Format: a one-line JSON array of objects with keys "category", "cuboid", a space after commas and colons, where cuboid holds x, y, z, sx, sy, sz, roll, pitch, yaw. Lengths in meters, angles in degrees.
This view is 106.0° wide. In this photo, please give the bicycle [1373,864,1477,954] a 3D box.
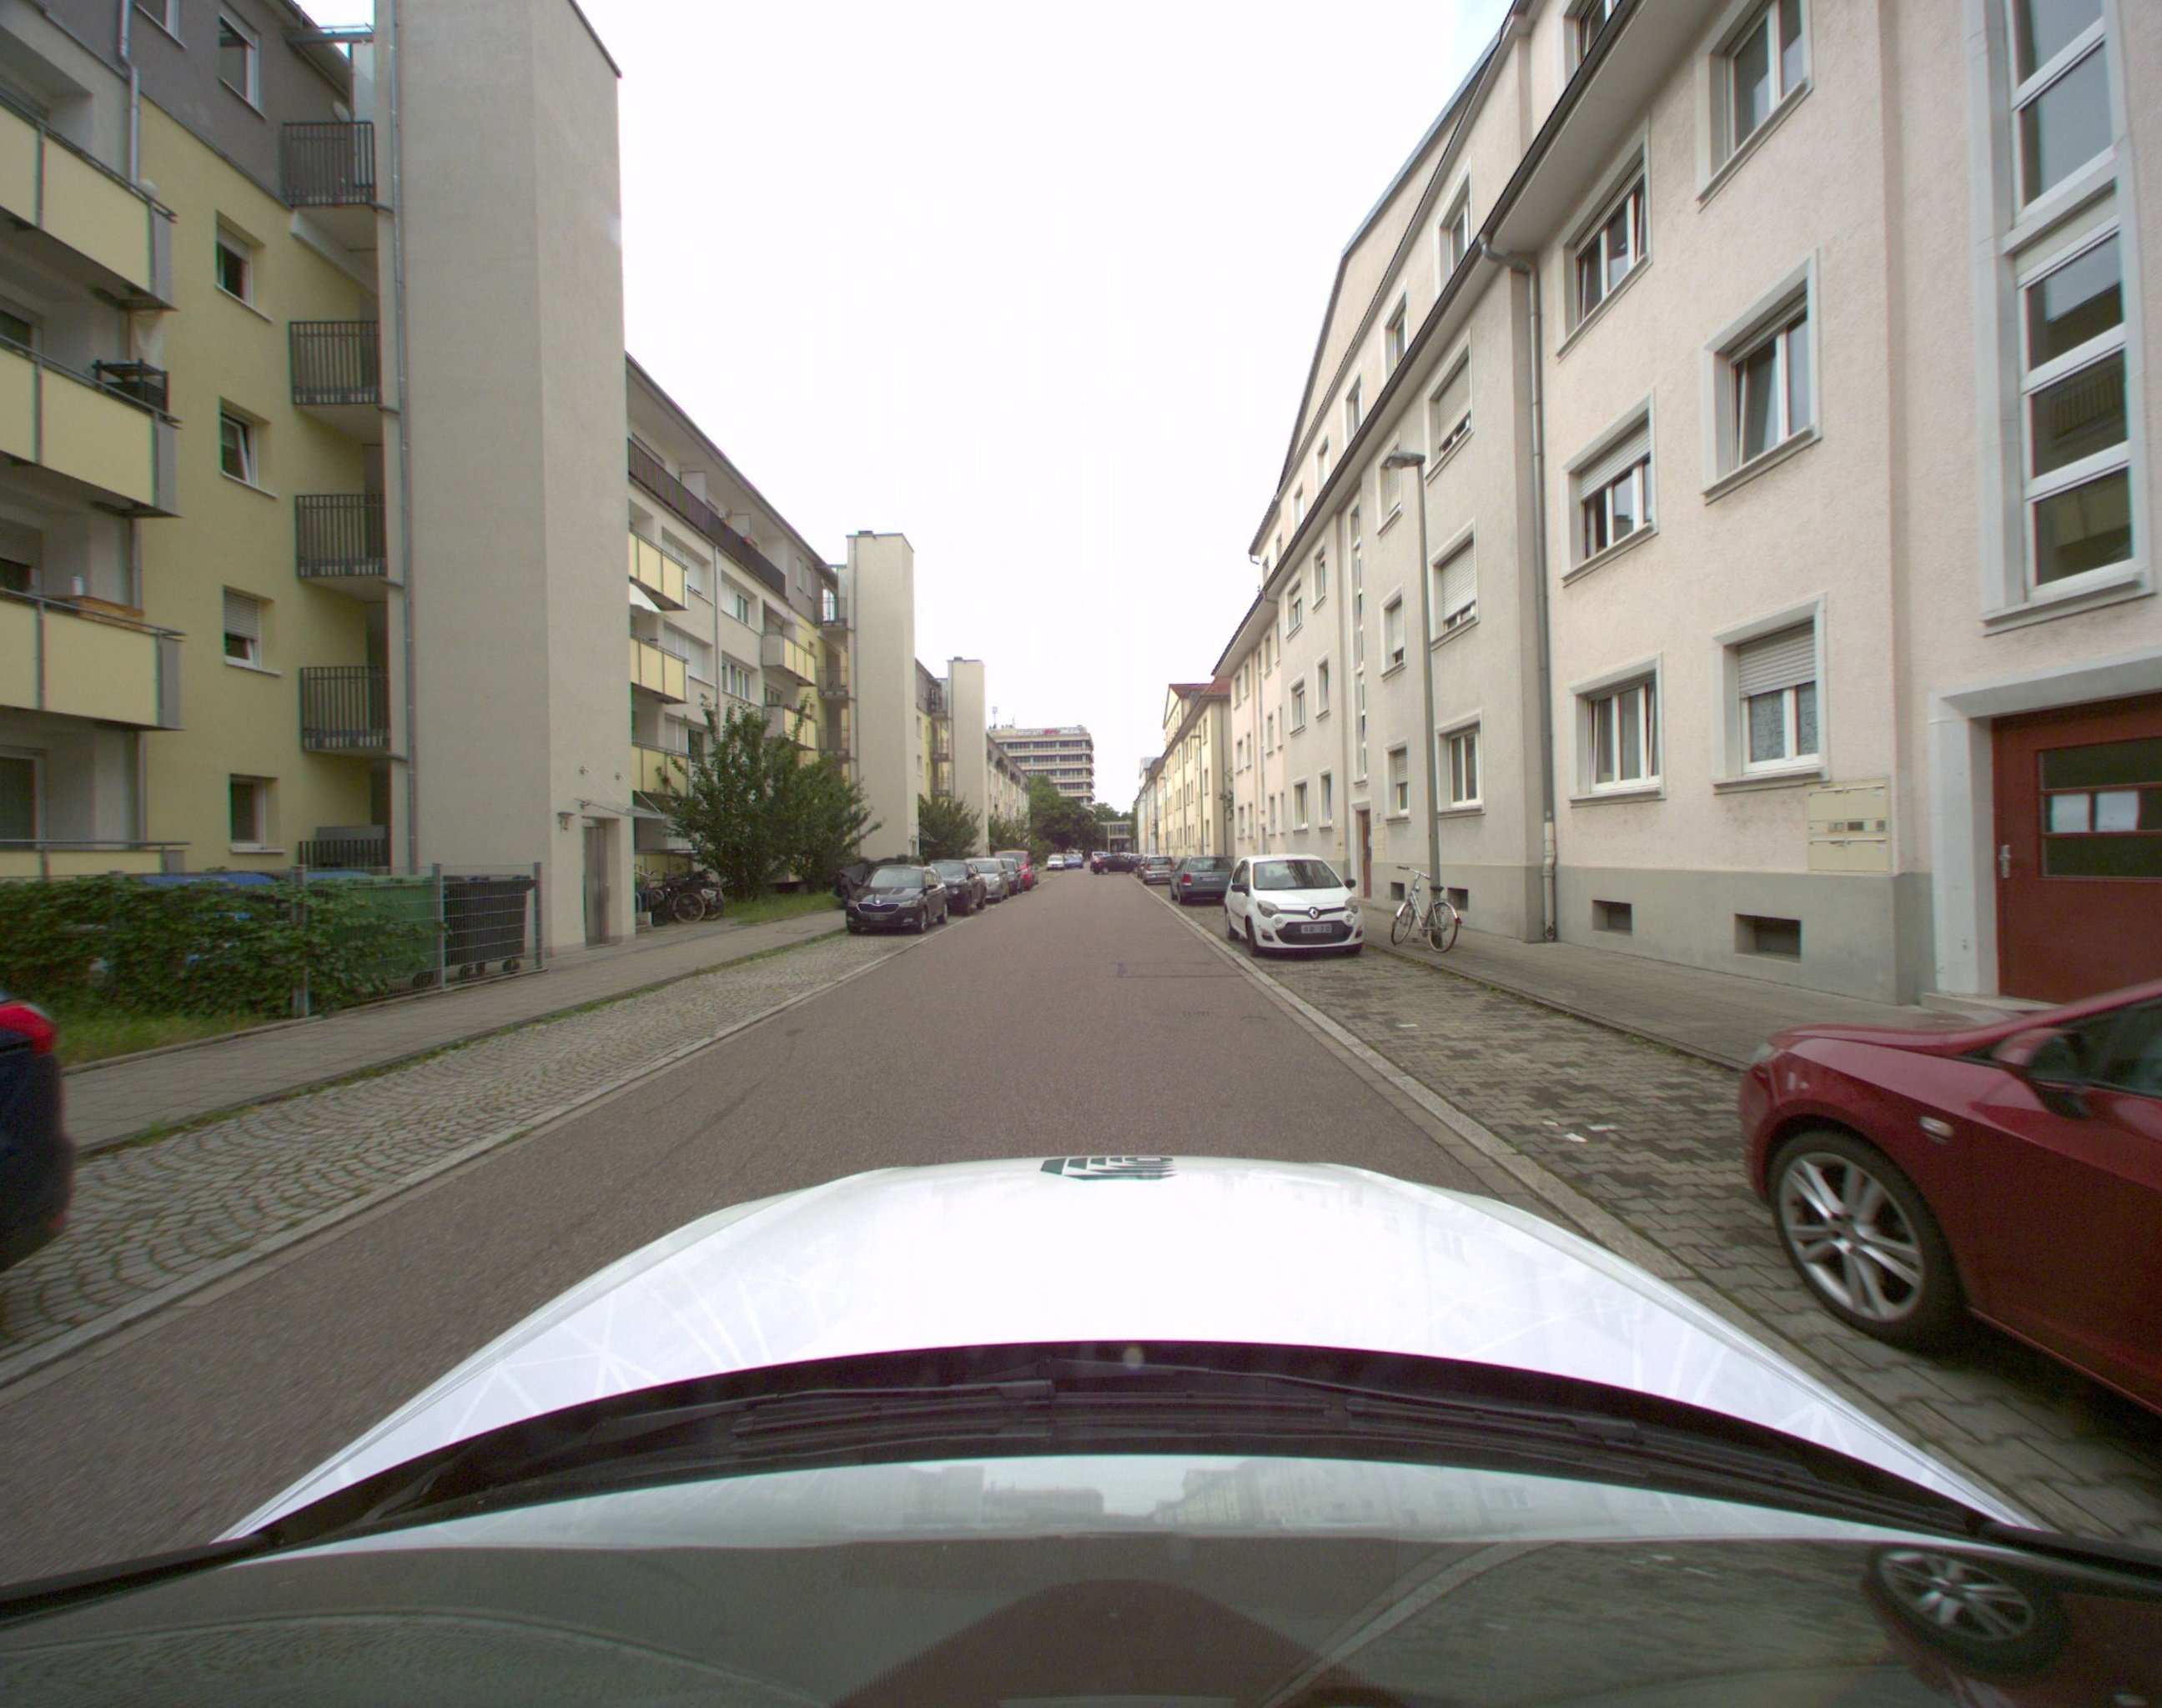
[{"category": "bicycle", "cuboid": [4.904, 0.734, 11.756, 0.603, 1.140, 2.125, -2, 0, 1]}]

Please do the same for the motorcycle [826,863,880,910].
[{"category": "motorcycle", "cuboid": [-6.874, 0.952, 24.711, 0.866, 1.307, 2.421, 0, 0, 2]}]

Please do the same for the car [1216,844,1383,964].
[{"category": "car", "cuboid": [3.329, 0.689, 13.149, 1.776, 1.599, 3.807, -2, 0, 2]}]

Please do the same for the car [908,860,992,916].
[{"category": "car", "cuboid": [-3.862, 0.954, 24.544, 1.646, 1.530, 3.899, 0, 0, 4]}]

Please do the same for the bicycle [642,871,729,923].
[{"category": "bicycle", "cuboid": [-9.398, 1.019, 19.392, 1.719, 1.142, 0.608, -2, 0, -3]}]

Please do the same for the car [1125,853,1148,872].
[{"category": "car", "cuboid": [4.712, 0.699, 69.700, 1.719, 1.517, 4.062, -2, 0, 1]}]

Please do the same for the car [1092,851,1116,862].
[{"category": "car", "cuboid": [4.377, 0.496, 154.348, 4.314, 1.790, 1.860, -2, 0, -5]}]

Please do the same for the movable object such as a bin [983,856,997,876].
[{"category": "movable object such as a bin", "cuboid": [-6.526, 0.849, 58.495, 0.800, 1.429, 1.290, -1, 0, 5]}]

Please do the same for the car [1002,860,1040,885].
[{"category": "car", "cuboid": [-3.399, 1.032, 46.974, 1.864, 1.323, 4.361, 0, 0, 0]}]

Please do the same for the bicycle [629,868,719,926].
[{"category": "bicycle", "cuboid": [-9.350, 0.977, 18.757, 1.719, 1.225, 0.608, -2, 0, -3]}]

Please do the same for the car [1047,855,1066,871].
[{"category": "car", "cuboid": [-2.416, 0.872, 81.658, 1.714, 1.570, 3.871, 0, 0, 1]}]

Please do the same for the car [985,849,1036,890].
[{"category": "car", "cuboid": [-3.471, 0.738, 40.915, 2.145, 1.954, 4.920, 0, 0, -1]}]

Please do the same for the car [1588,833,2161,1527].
[{"category": "car", "cuboid": [3.141, 0.683, 1.687, 1.747, 1.409, 3.938, -4, 0, 1]}]

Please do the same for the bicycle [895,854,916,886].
[{"category": "bicycle", "cuboid": [-6.891, 0.626, 32.017, 0.551, 1.192, 1.725, -2, 0, -6]}]

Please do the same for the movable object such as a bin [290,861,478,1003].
[{"category": "movable object such as a bin", "cuboid": [-7.932, 0.842, 9.349, 0.998, 1.500, 1.315, -1, 0, 2]}]

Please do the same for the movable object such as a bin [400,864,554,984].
[{"category": "movable object such as a bin", "cuboid": [-7.869, 0.873, 10.689, 0.998, 1.447, 1.315, -1, 0, 2]}]

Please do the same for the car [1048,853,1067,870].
[{"category": "car", "cuboid": [-2.533, 0.772, 87.556, 1.951, 1.770, 4.360, 0, 0, -1]}]

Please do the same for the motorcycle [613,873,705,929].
[{"category": "motorcycle", "cuboid": [-9.319, 1.035, 18.021, 1.611, 1.129, 0.690, -2, 0, -3]}]

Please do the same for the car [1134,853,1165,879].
[{"category": "car", "cuboid": [4.356, 0.750, 52.100, 1.719, 1.517, 4.062, -2, 0, 1]}]

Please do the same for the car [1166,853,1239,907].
[{"category": "car", "cuboid": [3.690, 0.734, 25.381, 1.719, 1.469, 4.265, -2, 0, 1]}]

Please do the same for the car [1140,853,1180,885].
[{"category": "car", "cuboid": [4.006, 0.728, 42.057, 1.719, 1.492, 4.062, -2, 0, 1]}]

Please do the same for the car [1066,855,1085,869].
[{"category": "car", "cuboid": [-0.627, 0.913, 92.902, 1.838, 1.451, 4.504, -1, 0, 3]}]

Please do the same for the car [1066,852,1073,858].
[{"category": "car", "cuboid": [-2.780, 0.276, 201.309, 1.659, 1.333, 3.397, -1, 0, 2]}]

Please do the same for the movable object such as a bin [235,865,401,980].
[{"category": "movable object such as a bin", "cuboid": [-10.293, 0.888, 11.056, 0.998, 1.447, 1.315, -1, 0, 2]}]

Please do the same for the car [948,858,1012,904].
[{"category": "car", "cuboid": [-3.673, 0.934, 30.509, 1.829, 1.570, 4.860, 0, 0, -1]}]

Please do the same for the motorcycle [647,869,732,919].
[{"category": "motorcycle", "cuboid": [-9.614, 0.966, 20.023, 1.745, 1.129, 0.593, -2, 0, -3]}]

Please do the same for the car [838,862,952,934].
[{"category": "car", "cuboid": [-4.183, 0.940, 18.918, 1.637, 1.438, 3.858, 0, 0, 2]}]

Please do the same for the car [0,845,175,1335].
[{"category": "car", "cuboid": [-4.536, 0.792, 0.987, 1.793, 1.627, 4.473, 0, 0, 2]}]

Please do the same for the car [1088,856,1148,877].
[{"category": "car", "cuboid": [2.870, 0.955, 62.821, 4.230, 1.433, 1.898, -2, 0, -18]}]

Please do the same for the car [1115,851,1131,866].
[{"category": "car", "cuboid": [4.988, 0.529, 97.946, 1.813, 1.642, 4.093, -2, 0, 2]}]

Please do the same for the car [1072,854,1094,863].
[{"category": "car", "cuboid": [0.380, 0.831, 157.745, 4.188, 1.652, 1.893, -2, 0, -6]}]

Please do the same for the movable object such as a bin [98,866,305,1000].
[{"category": "movable object such as a bin", "cuboid": [-10.316, 0.883, 9.629, 0.998, 1.447, 1.315, -1, 0, 2]}]

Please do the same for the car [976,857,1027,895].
[{"category": "car", "cuboid": [-3.432, 0.914, 35.665, 1.714, 1.570, 4.055, 0, 0, 1]}]
